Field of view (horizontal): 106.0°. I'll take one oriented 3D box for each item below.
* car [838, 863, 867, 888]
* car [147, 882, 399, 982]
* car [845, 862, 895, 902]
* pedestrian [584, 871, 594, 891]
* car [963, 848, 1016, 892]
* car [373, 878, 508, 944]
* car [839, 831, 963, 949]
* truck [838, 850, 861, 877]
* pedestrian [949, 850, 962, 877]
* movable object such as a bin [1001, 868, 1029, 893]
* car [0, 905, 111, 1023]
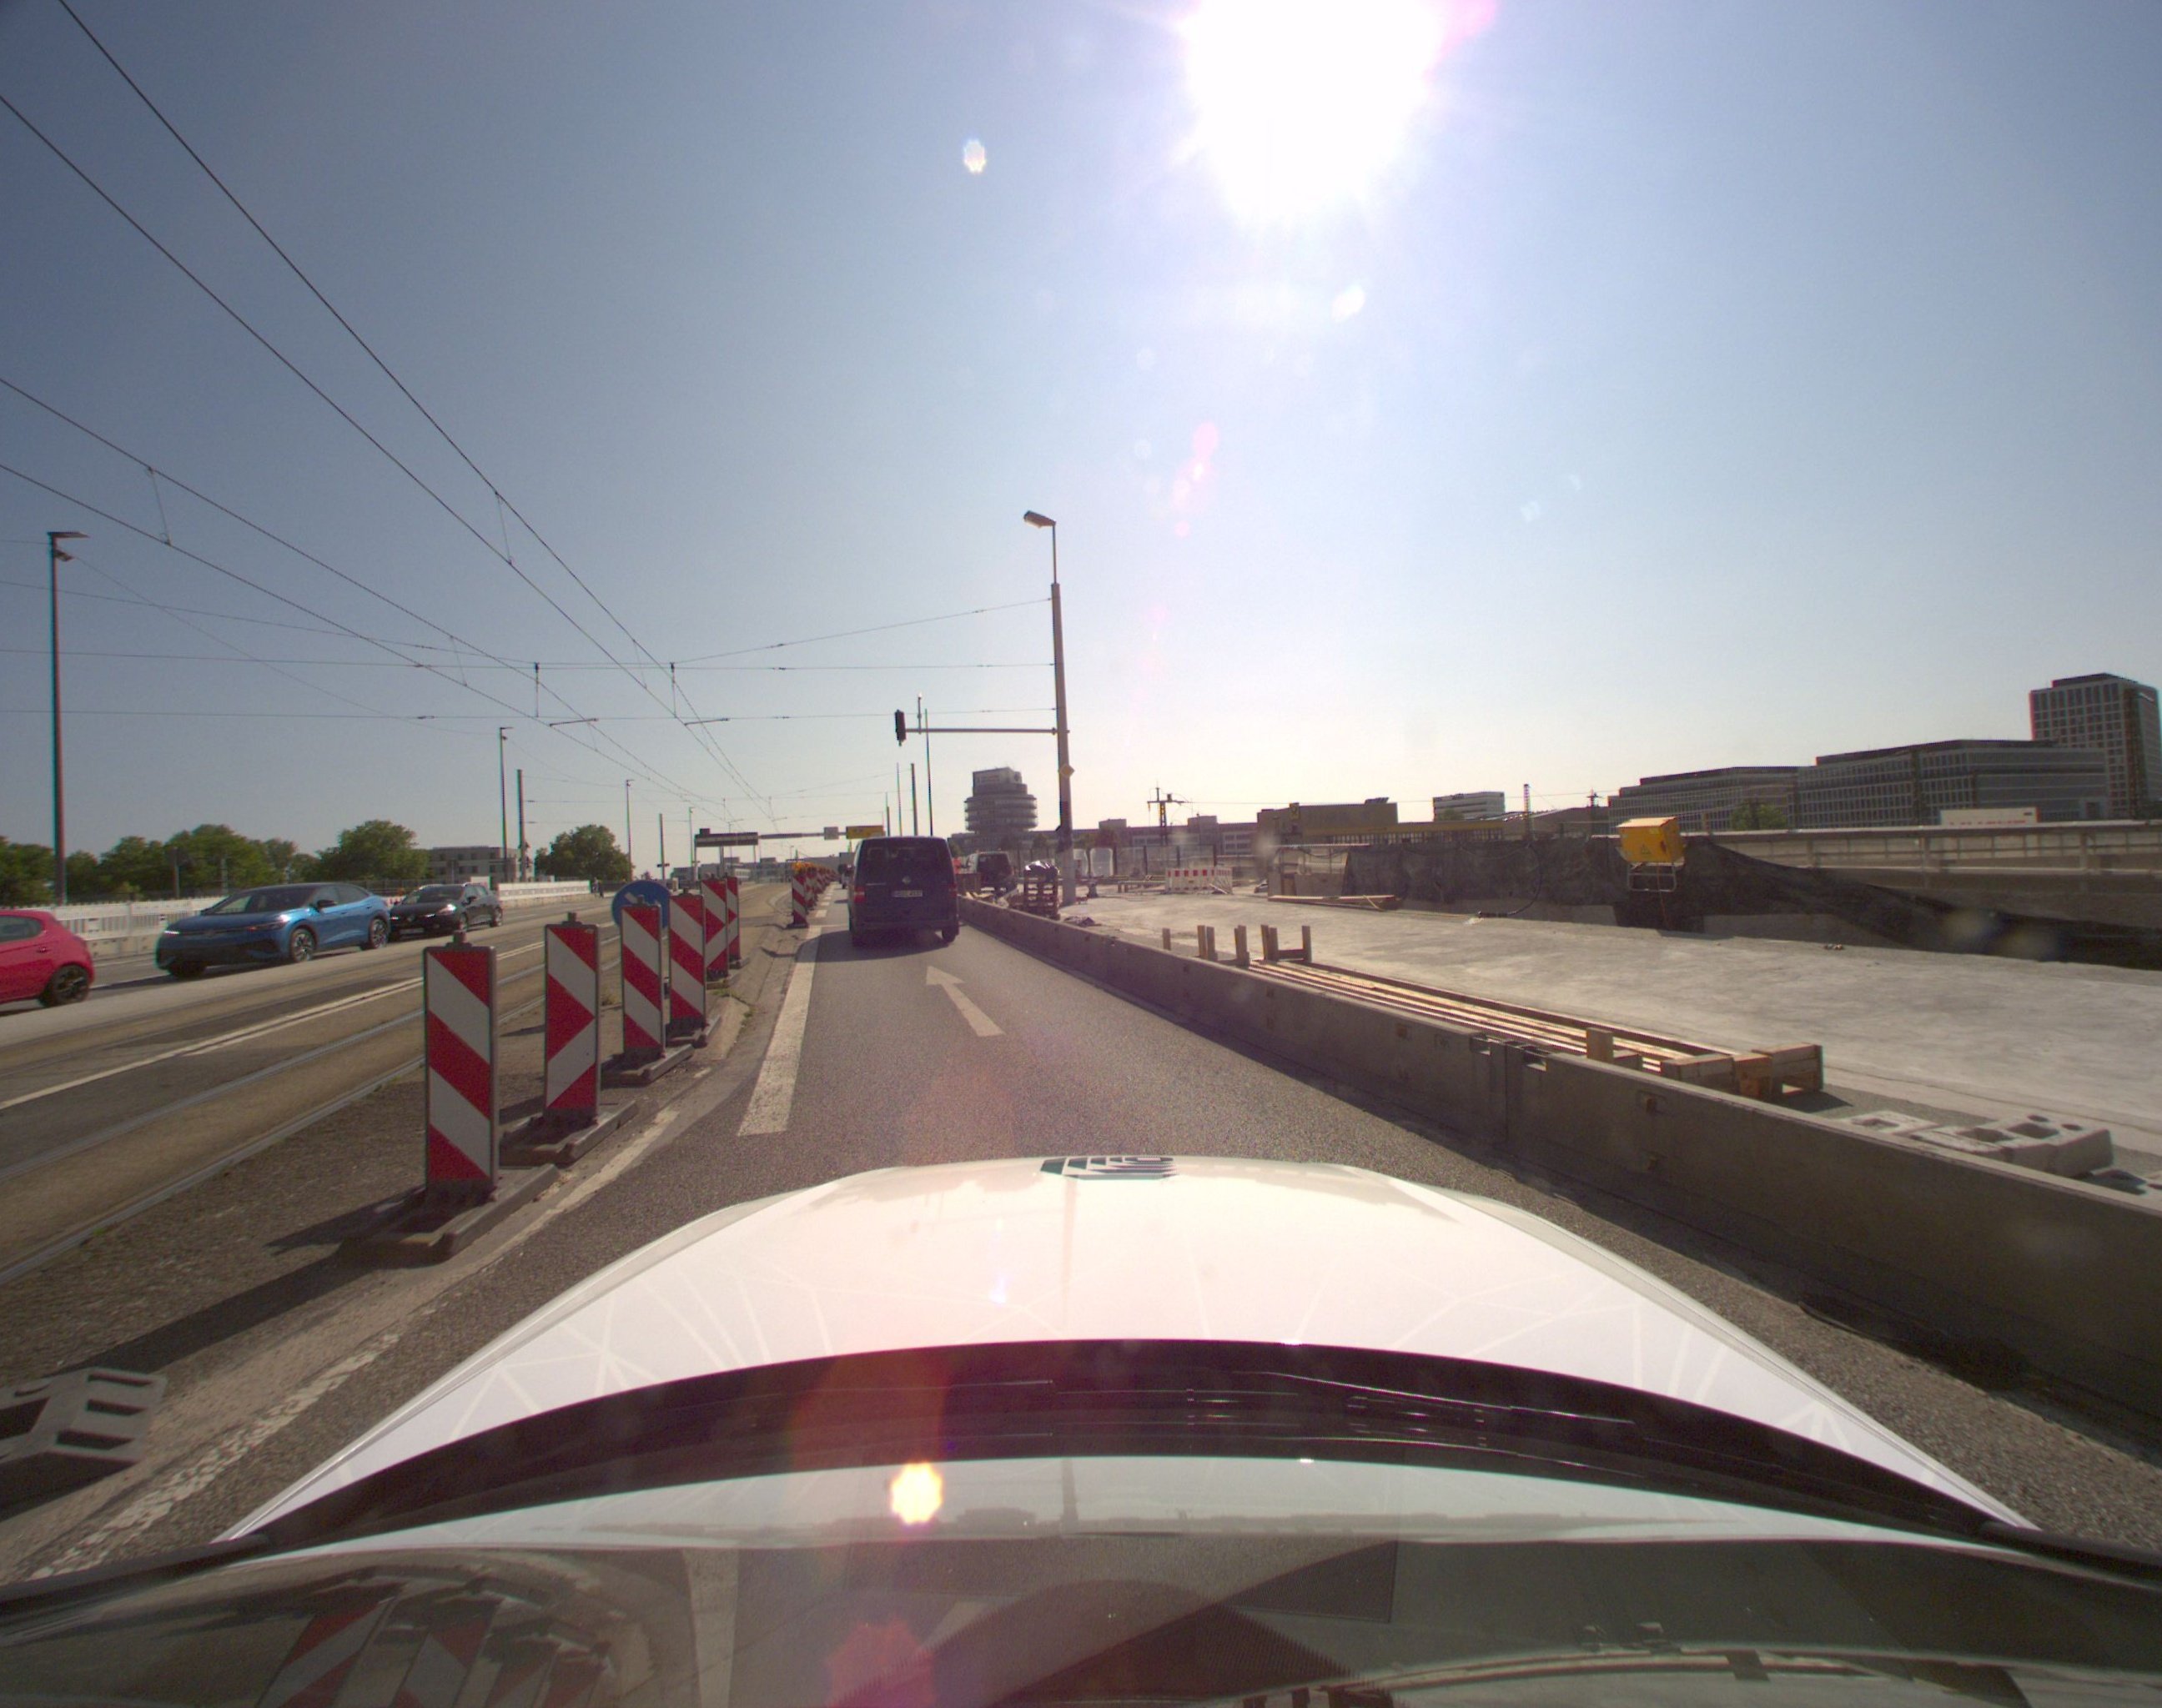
[{"bbox_3d":[-15.117,1.390,53.891,1.722,1.532,3.676,-2,0,-17],"label":"car"},{"bbox_3d":[-16.256,1.453,16.761,1.674,1.550,4.529,-4,0,-17],"label":"car"},{"bbox_3d":[-8.335,1.062,32.018,1.722,1.405,3.392,-2,0,-17],"label":"car"},{"bbox_3d":[-47.736,2.647,78.954,0.635,1.893,0.748,-2,-1,-17],"label":"pedestrian"},{"bbox_3d":[-4.675,0.816,40.974,1.882,2.033,4.864,-1,-1,-15],"label":"car"},{"bbox_3d":[-18.089,1.545,23.234,1.509,1.500,4.154,-4,1,-16],"label":"car"},{"bbox_3d":[-3.617,0.630,15.820,1.821,1.905,4.028,-3,0,-19],"label":"car"},{"bbox_3d":[-28.778,1.153,100.964,2.466,3.134,11.151,-3,0,-17],"label":"truck"},{"bbox_3d":[-9.595,0.734,62.391,0.784,1.935,0.795,-4,-1,-17],"label":"pedestrian"},{"bbox_3d":[-3.027,1.211,37.464,0.930,1.074,0.897,-2,-1,29],"label":"movable object such as a bin"},{"bbox_3d":[-14.520,1.488,9.890,1.538,1.437,3.956,-4,0,-17],"label":"car"}]
